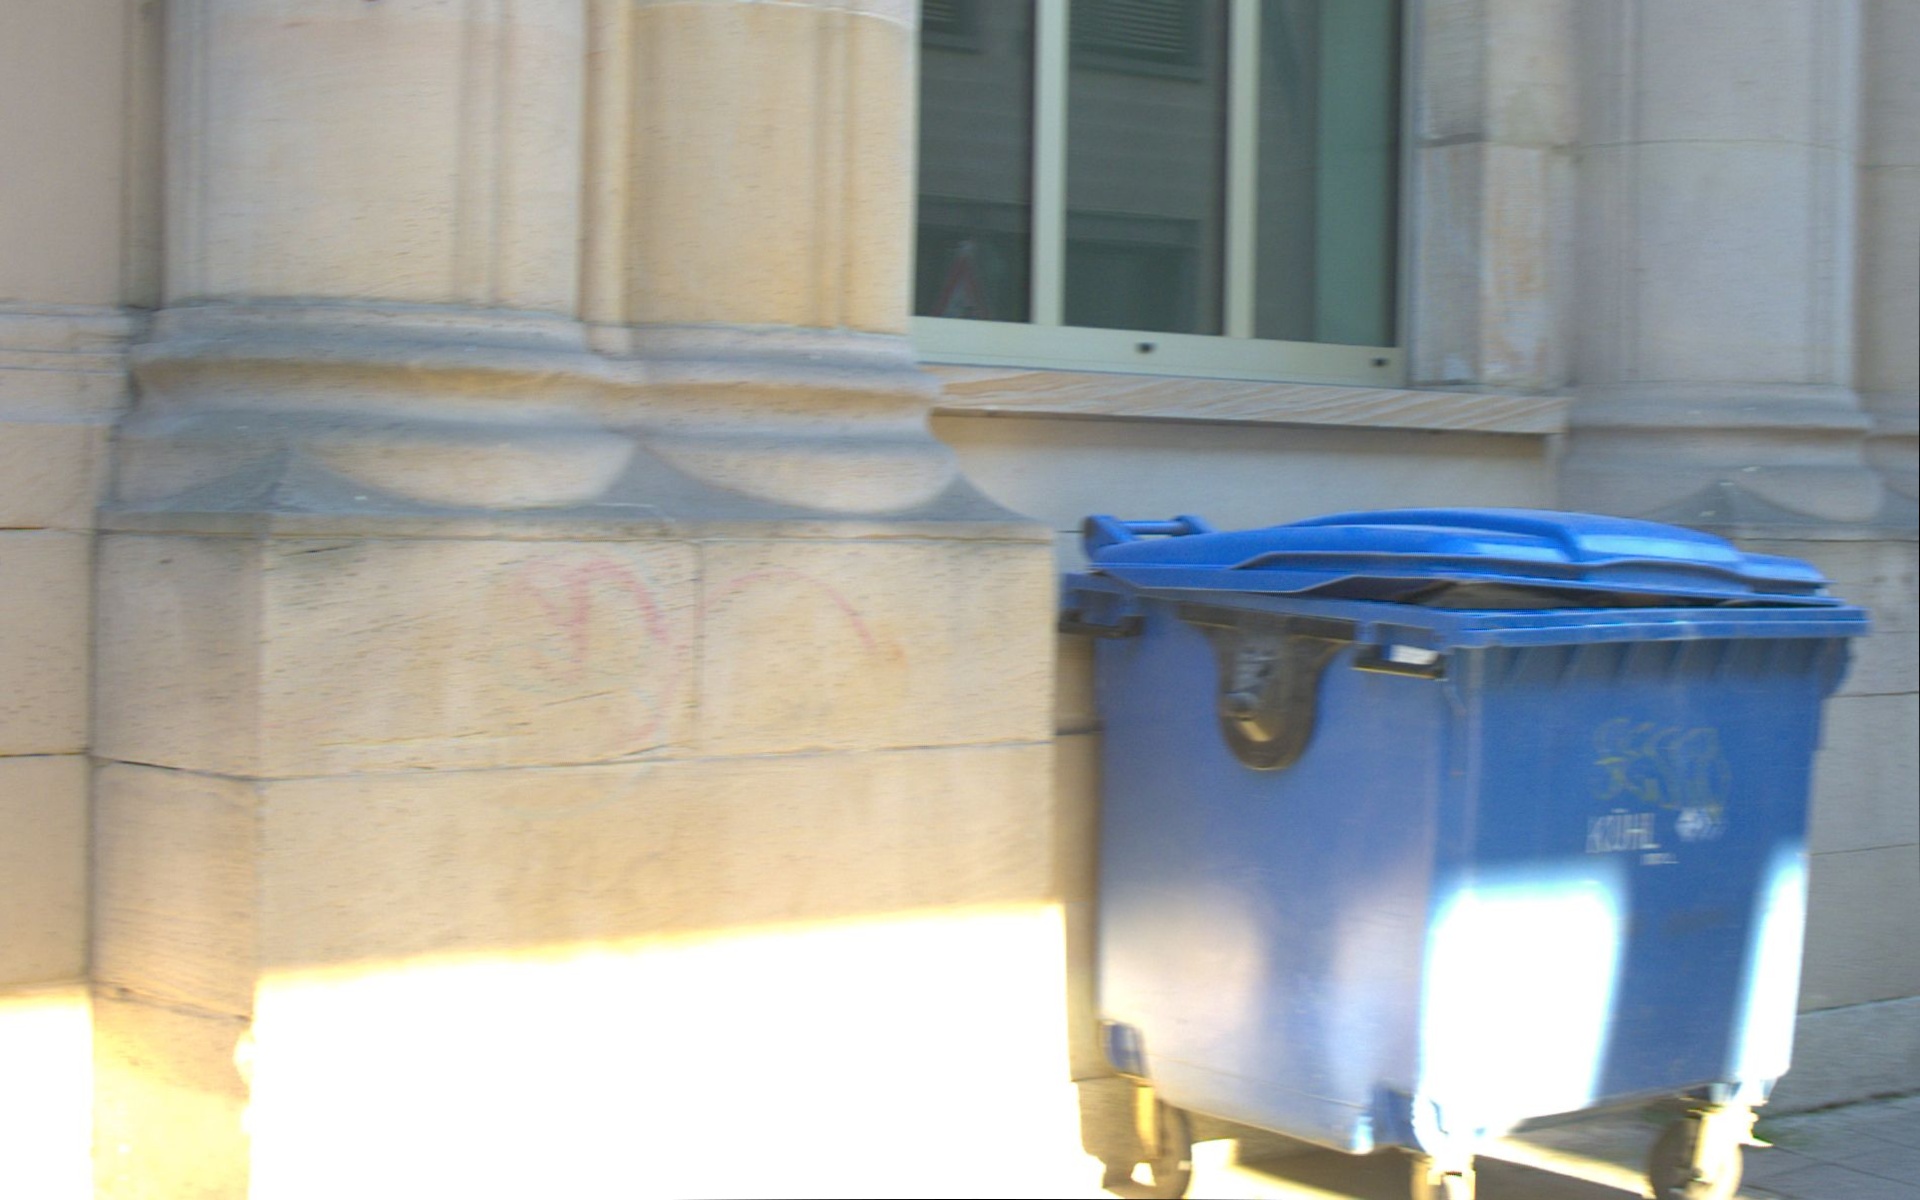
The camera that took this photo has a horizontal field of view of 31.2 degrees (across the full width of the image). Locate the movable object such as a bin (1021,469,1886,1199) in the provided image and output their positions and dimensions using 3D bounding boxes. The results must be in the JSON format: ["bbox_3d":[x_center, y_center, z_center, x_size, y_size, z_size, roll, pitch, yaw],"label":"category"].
[{"bbox_3d":[0.932,0.506,6.569,1.183,1.469,1.077,0,3,-38],"label":"movable object such as a bin"}]
